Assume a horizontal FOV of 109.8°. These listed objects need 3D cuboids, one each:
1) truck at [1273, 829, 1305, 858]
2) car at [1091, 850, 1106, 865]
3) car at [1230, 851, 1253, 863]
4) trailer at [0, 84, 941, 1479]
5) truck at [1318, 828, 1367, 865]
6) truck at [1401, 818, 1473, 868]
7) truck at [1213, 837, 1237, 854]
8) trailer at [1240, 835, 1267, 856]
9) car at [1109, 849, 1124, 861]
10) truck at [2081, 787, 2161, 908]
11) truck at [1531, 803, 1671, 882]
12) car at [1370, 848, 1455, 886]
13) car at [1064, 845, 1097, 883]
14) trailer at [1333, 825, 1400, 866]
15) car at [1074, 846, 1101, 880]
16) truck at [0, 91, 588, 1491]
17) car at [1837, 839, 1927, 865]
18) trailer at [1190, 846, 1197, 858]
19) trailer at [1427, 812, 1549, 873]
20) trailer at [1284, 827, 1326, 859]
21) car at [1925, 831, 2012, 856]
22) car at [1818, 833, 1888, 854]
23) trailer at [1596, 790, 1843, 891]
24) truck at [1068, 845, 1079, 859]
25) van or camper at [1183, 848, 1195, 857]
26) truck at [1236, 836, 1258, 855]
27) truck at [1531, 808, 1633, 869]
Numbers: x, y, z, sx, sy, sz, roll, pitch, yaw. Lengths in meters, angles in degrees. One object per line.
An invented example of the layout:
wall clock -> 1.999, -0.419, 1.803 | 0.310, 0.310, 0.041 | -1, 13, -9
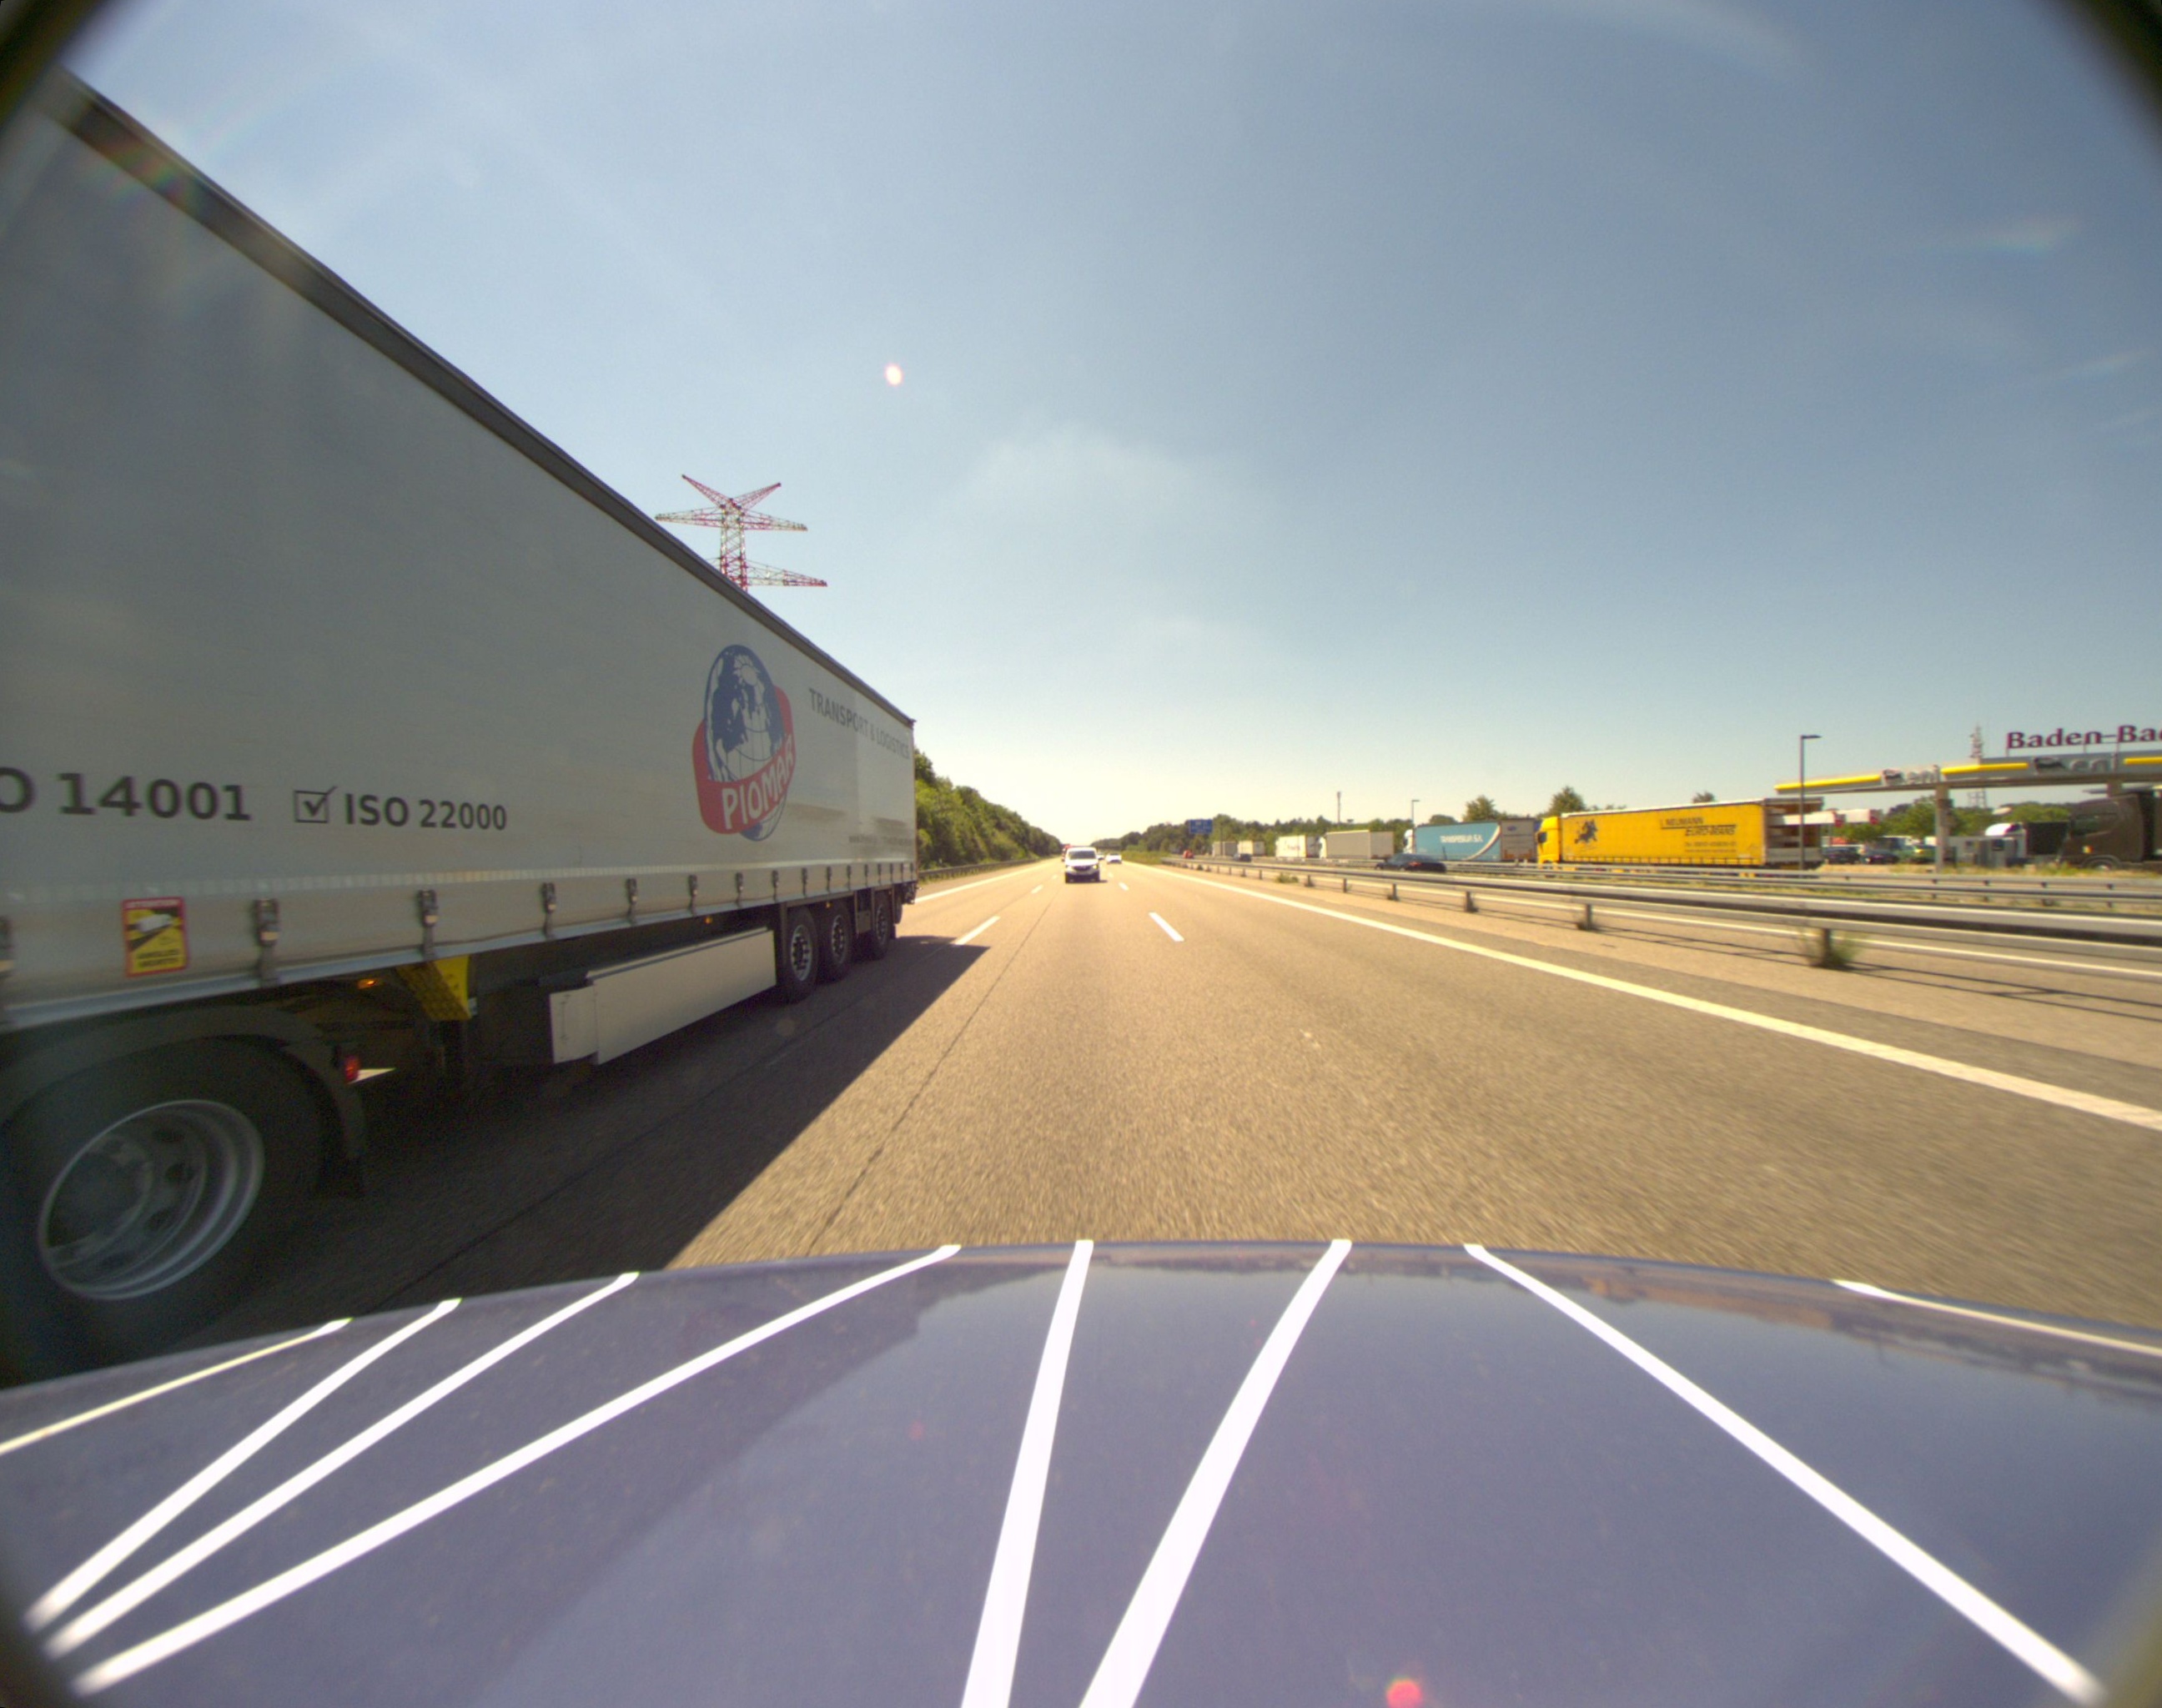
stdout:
truck -> 31.224, -1.605, 114.425 | 2.588, 4.164, 7.935 | -2, 1, 0
car -> 1.901, 0.356, 83.147 | 1.586, 1.497, 3.793 | -3, 1, 1
car -> 18.438, 0.306, 87.282 | 1.746, 1.269, 4.318 | 2, 1, 1
trailer -> -4.212, -0.259, 8.358 | 2.496, 3.887, 14.244 | -2, 1, 0
truck -> 31.413, -0.935, 91.700 | 3.125, 4.134, 7.503 | -3, 1, -1
truck -> 31.381, -0.938, 67.255 | 2.857, 4.049, 7.088 | -3, 1, 0
truck -> 32.781, -1.879, 173.675 | 2.806, 3.622, 13.604 | -3, 1, 0
trailer -> 38.118, -1.866, 168.188 | 3.102, 4.132, 12.009 | -3, 1, 0
car -> 4.463, 0.057, 96.621 | 1.775, 1.410, 3.401 | -3, 1, 1
truck -> 44.229, -0.306, 28.546 | 3.033, 4.822, 7.878 | -3, 1, 2
truck -> 31.009, -0.668, 45.843 | 2.840, 4.176, 7.917 | -3, 1, 0
car -> 16.120, 0.572, 37.273 | 1.977, 1.637, 5.016 | -3, 1, 0
car -> -0.025, 0.458, 39.179 | 1.501, 1.799, 3.393 | -3, 1, 0
trailer -> 31.510, -0.886, 84.506 | 3.121, 4.134, 11.013 | -3, 1, -1
car -> 0.366, 0.475, 43.035 | 1.413, 1.795, 3.200 | -3, 1, 0
truck -> -4.260, -0.164, 0.925 | 2.505, 3.897, 7.096 | -2, 1, 0
car -> 67.873, -0.132, 64.488 | 4.868, 1.976, 1.954 | -2, 1, 34
trailer -> 22.742, -0.487, 153.581 | 1.170, 2.355, 1.998 | -1, 1, 0
trailer -> 31.431, -0.846, 59.562 | 2.840, 4.124, 12.082 | -3, 1, 0
trailer -> 31.218, -1.530, 106.359 | 2.605, 4.194, 10.513 | -3, 1, 0
car -> 78.590, -0.953, 67.339 | 4.591, 1.976, 1.953 | -3, 1, 29
car -> 80.473, -1.090, 79.298 | 4.885, 1.858, 1.787 | -2, 1, 34
trailer -> 31.052, -0.616, 38.016 | 2.840, 4.195, 11.081 | -3, 1, 0
truck -> -2.078, -0.631, 212.983 | 2.540, 3.656, 5.219 | -3, 1, 1
van or camper -> 22.617, -0.359, 159.161 | 1.901, 1.828, 4.746 | -1, 0, 0
truck -> 38.148, -1.924, 174.899 | 3.103, 4.128, 8.315 | -3, 1, 0
truck -> 36.471, -1.076, 55.647 | 2.840, 4.049, 7.089 | -3, 1, 2
